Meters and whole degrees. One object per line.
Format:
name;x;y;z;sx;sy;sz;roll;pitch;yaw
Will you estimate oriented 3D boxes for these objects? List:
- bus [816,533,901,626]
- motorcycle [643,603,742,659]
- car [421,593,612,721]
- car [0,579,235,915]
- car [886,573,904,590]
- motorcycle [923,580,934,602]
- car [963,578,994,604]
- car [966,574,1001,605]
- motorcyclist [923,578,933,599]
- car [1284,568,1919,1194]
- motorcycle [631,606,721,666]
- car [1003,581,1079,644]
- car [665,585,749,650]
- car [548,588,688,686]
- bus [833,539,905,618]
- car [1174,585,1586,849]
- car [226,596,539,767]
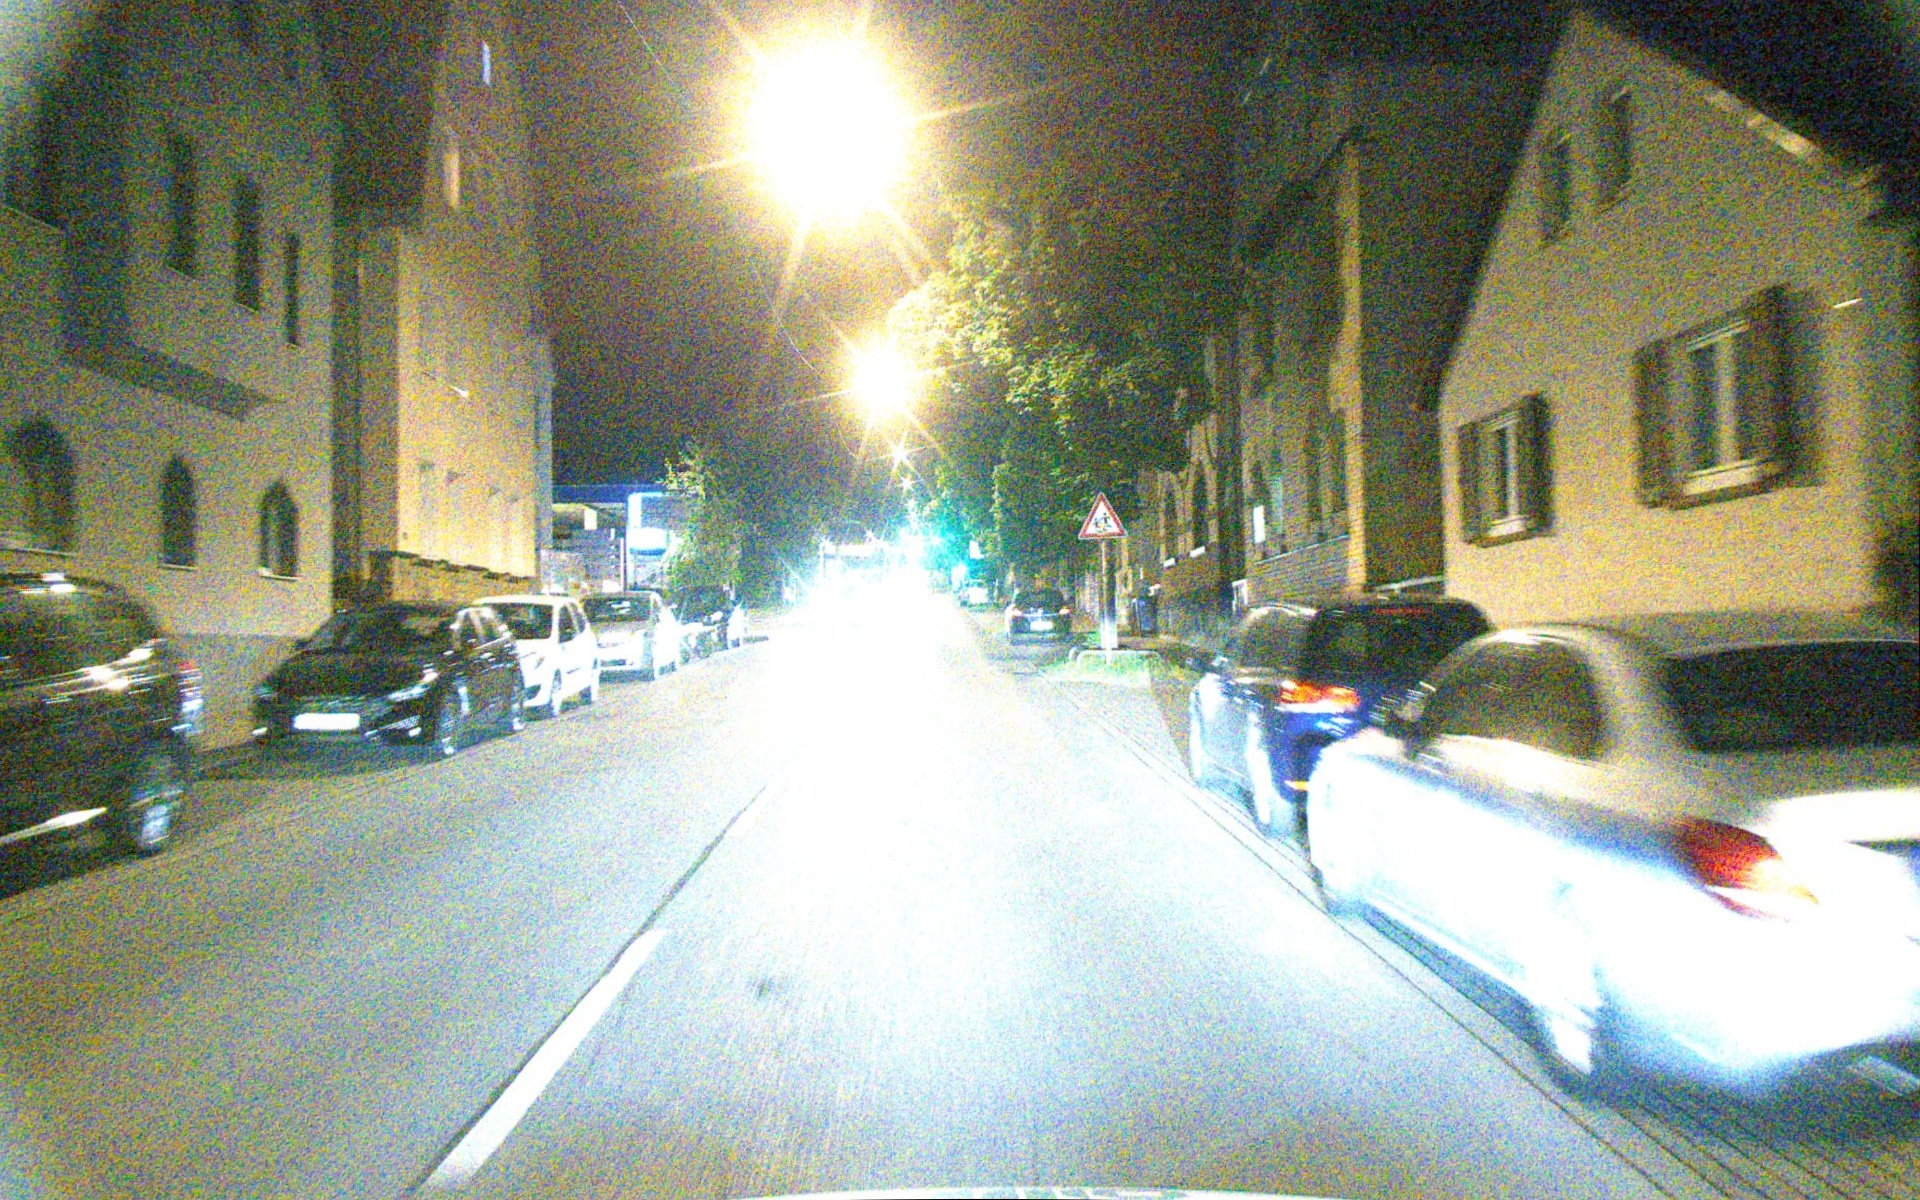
bus;-3.724;-0.811;62.879;2.780;3.233;10.497;0;1;-1
motorcycle;-5.777;0.674;35.645;2.162;1.150;0.714;-1;1;32
car;-5.690;0.680;21.645;1.589;1.518;3.779;0;0;-2
car;-5.604;0.719;8.506;1.798;1.647;4.544;0;1;-1
car;-7.214;-2.055;184.780;1.905;1.747;3.999;0;0;-1
motorcycle;-2.695;-0.745;139.938;0.912;1.782;2.624;0;0;-1
car;1.176;-0.610;106.975;1.831;1.553;4.149;-3;1;-1
car;1.333;-0.607;93.645;1.775;1.621;4.273;-3;1;-1
motorcyclist;-2.698;-0.944;139.941;0.831;1.782;0.805;0;0;-1
car;2.713;0.666;6.385;1.808;1.442;4.643;-4;0;-2
motorcycle;-5.789;0.716;33.626;0.710;1.167;2.174;-2;1;-43
car;2.144;0.298;44.753;1.727;1.501;4.080;-3;1;-1
car;-6.230;0.422;40.980;1.605;1.524;2.765;-1;0;0
car;-5.981;0.590;29.377;1.670;1.517;4.226;-2;1;-2
bus;-3.862;-0.957;71.979;2.780;3.233;7.660;0;1;-1
car;2.708;0.669;11.633;1.735;1.473;4.018;-2;0;-2
car;-5.702;0.729;16.924;1.826;1.518;4.278;0;0;-2
